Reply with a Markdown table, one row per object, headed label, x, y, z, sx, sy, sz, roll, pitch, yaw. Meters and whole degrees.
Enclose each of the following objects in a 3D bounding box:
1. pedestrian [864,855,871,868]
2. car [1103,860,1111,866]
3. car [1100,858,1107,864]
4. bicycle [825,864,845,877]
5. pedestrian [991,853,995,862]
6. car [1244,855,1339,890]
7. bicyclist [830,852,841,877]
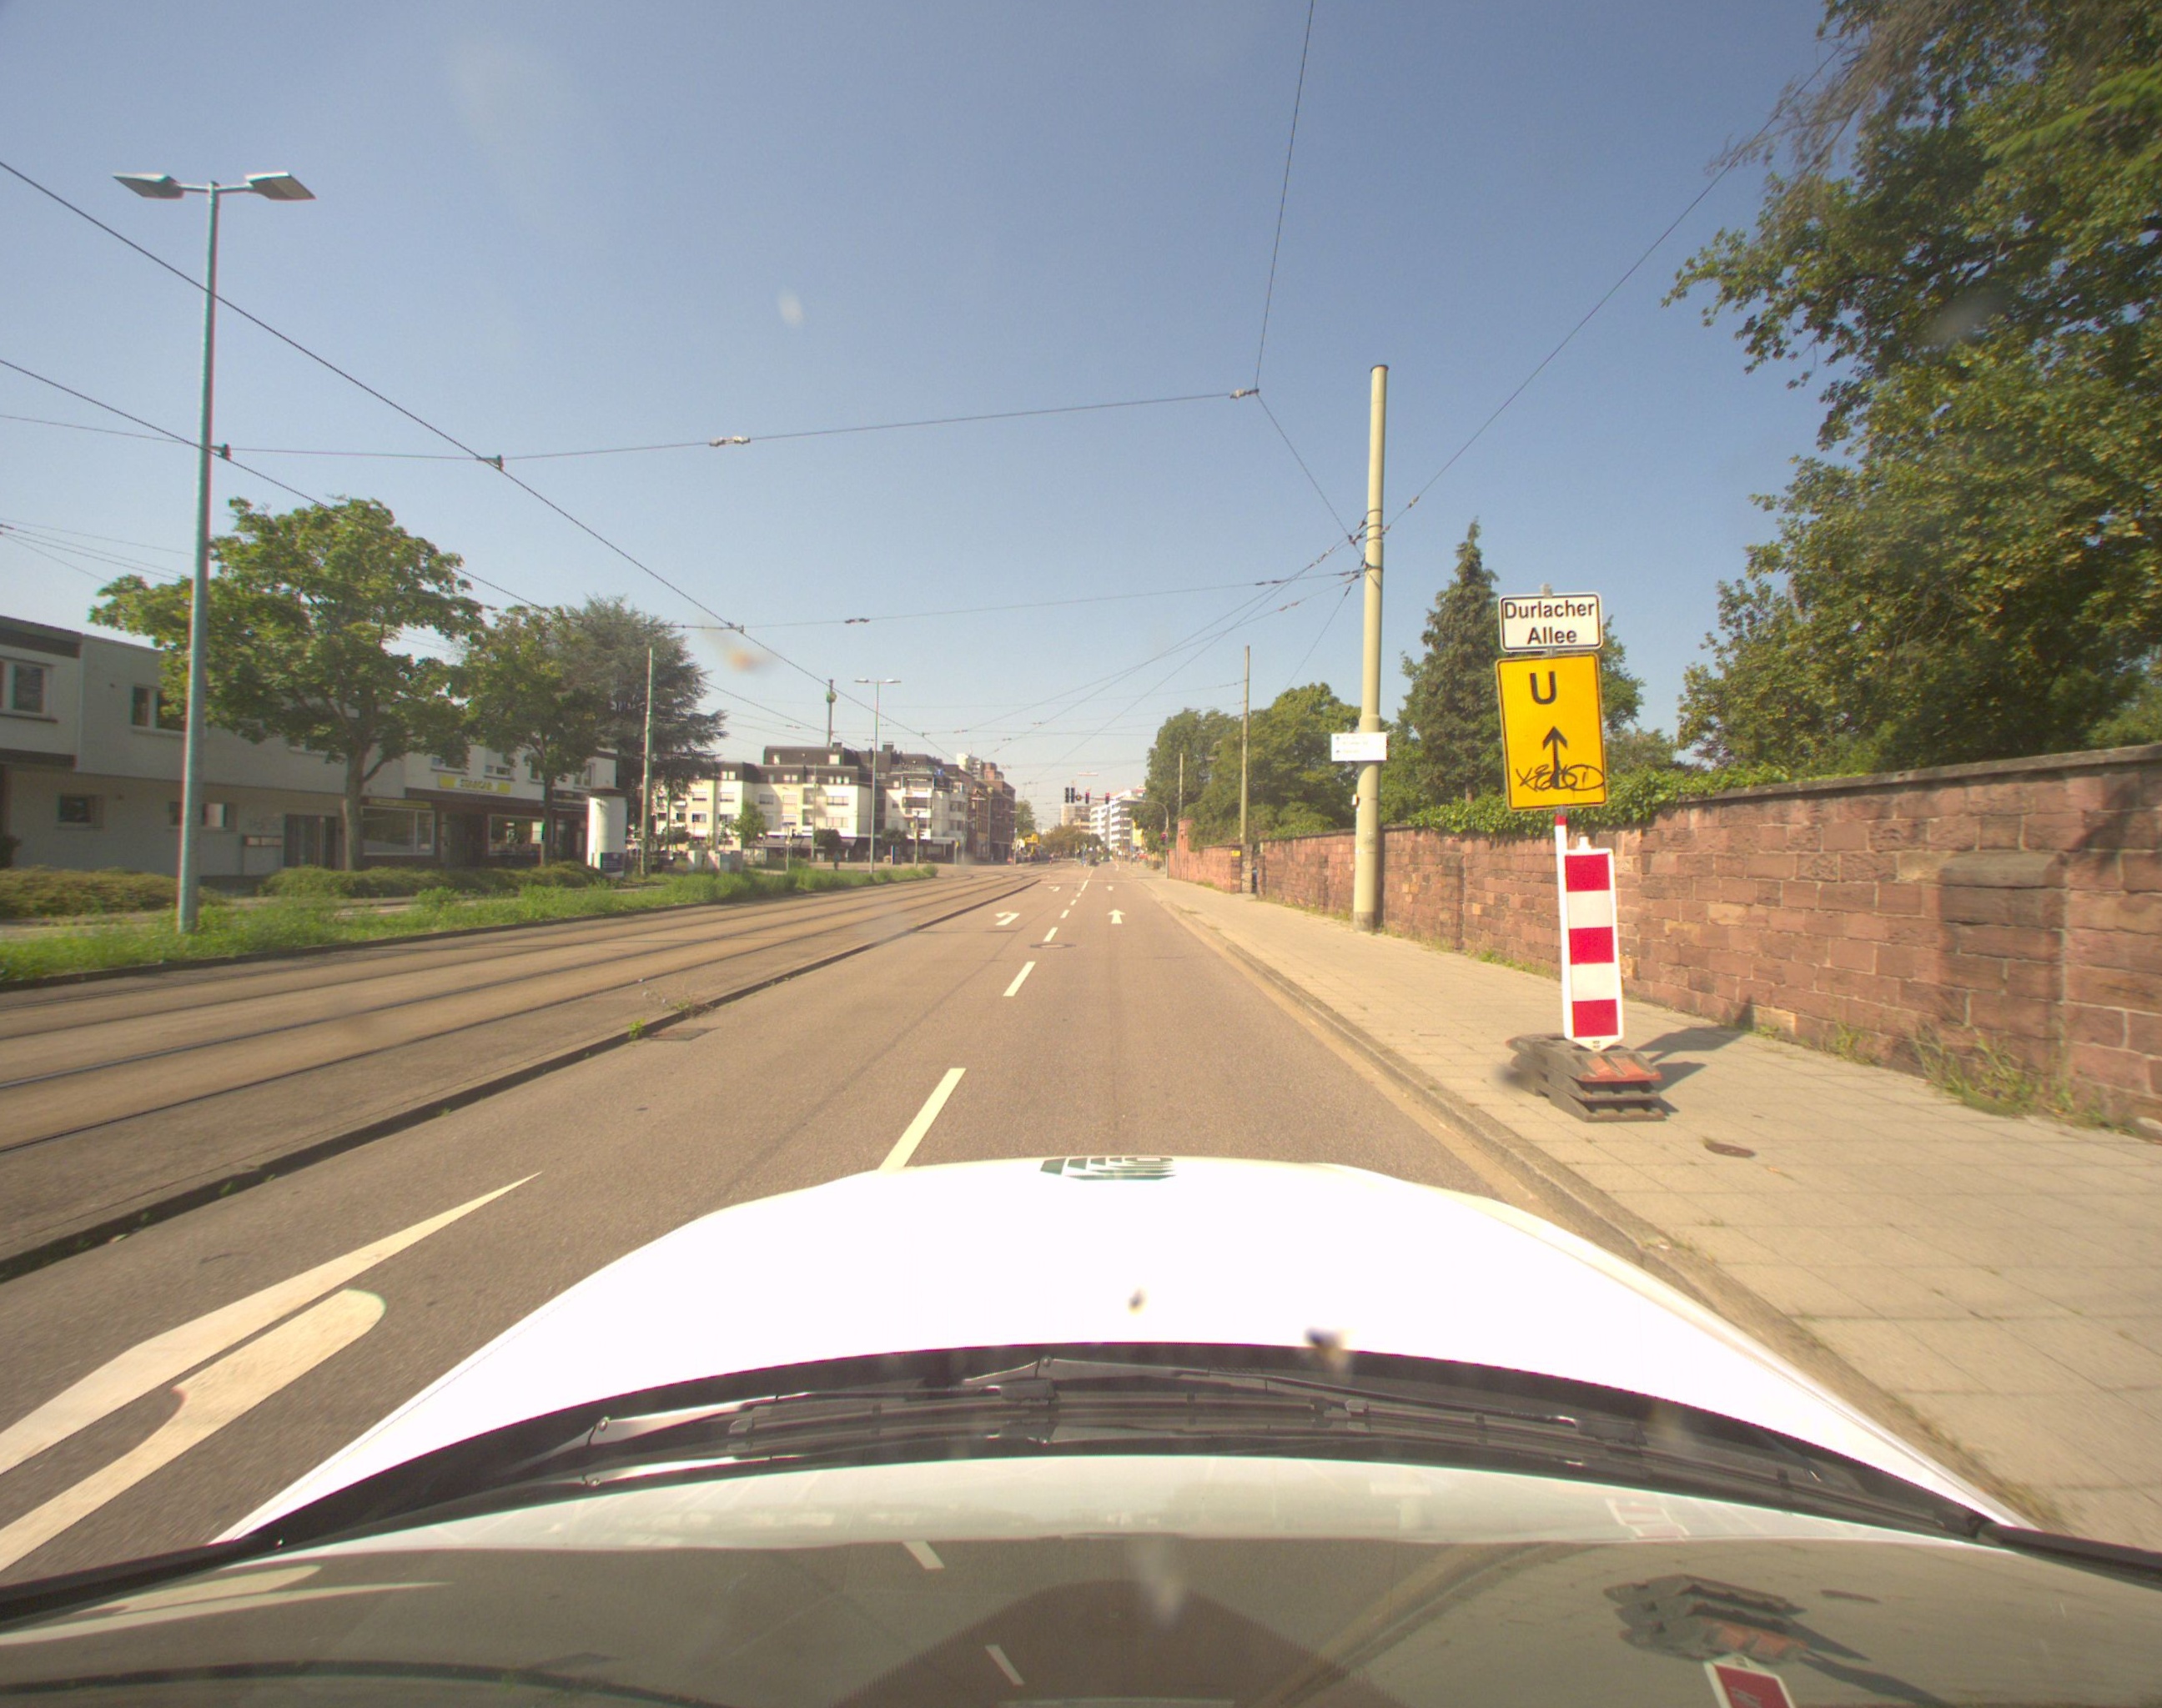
| label | x | y | z | sx | sy | sz | roll | pitch | yaw |
| --- | --- | --- | --- | --- | --- | --- | --- | --- | --- |
| pedestrian | -28.208 | 0.962 | 107.588 | 0.677 | 1.741 | 0.698 | -1 | -1 | 3 |
| car | 7.498 | 2.589 | 233.604 | 2.003 | 1.859 | 4.003 | -1 | -1 | 3 |
| car | 6.548 | 1.983 | 239.713 | 2.003 | 1.859 | 4.003 | -1 | -1 | 3 |
| bicycle | -20.325 | 1.348 | 67.332 | 0.711 | 1.091 | 2.268 | -1 | -1 | 5 |
| pedestrian | -16.386 | 0.633 | 151.685 | 0.479 | 1.560 | 0.890 | 2 | -2 | 13 |
| car | 9.748 | 0.820 | 37.908 | 3.954 | 1.464 | 1.778 | 2 | 0 | 0 |
| bicyclist | -20.323 | 0.877 | 67.353 | 0.634 | 2.064 | 0.776 | -1 | -1 | 5 |
